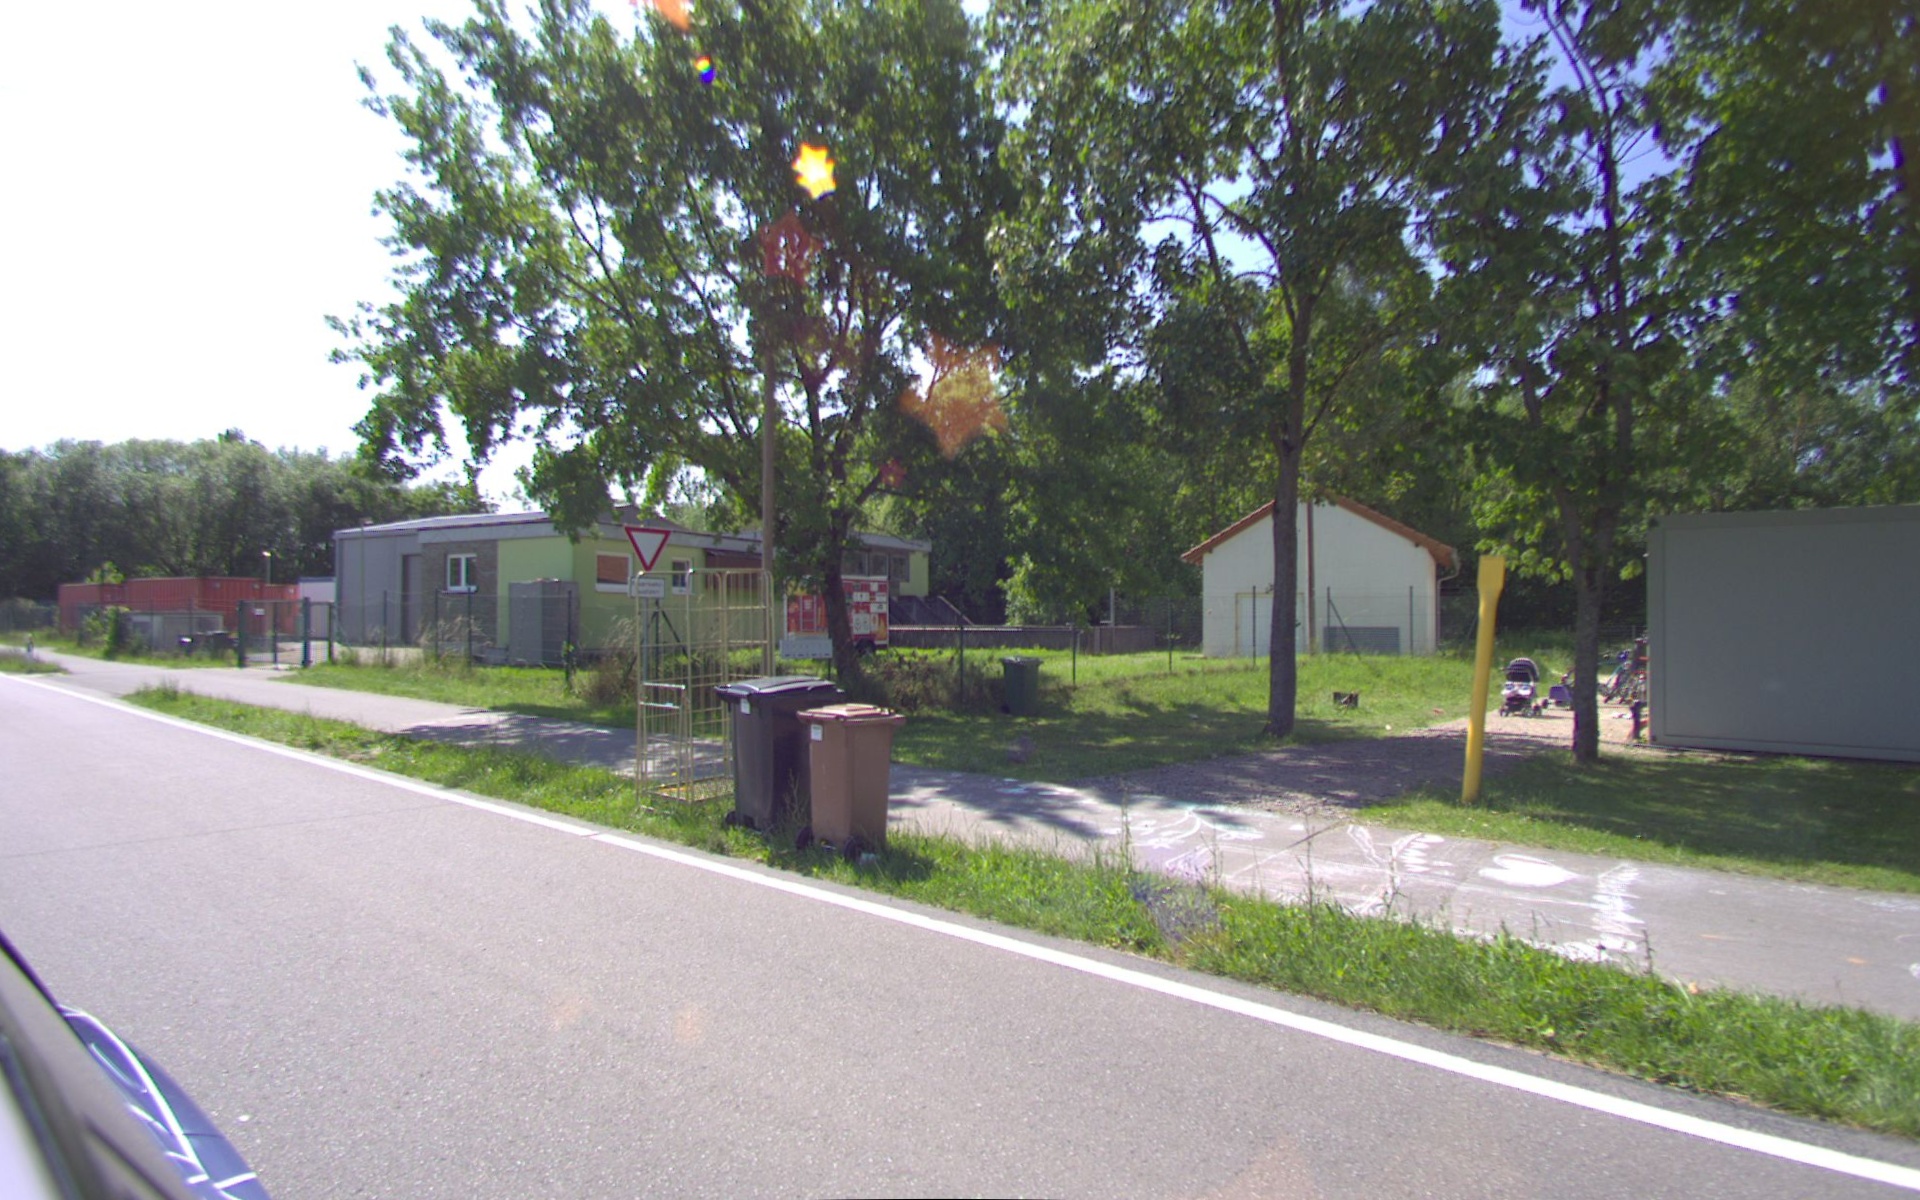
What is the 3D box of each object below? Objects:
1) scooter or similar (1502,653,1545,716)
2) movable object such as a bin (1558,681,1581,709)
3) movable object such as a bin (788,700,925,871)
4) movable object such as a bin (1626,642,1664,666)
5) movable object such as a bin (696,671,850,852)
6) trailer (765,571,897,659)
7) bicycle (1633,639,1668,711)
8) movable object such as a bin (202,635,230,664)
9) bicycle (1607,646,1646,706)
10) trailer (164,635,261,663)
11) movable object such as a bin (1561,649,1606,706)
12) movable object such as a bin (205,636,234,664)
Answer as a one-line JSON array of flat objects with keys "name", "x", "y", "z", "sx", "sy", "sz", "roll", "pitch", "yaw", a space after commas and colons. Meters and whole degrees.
[{"name": "scooter or similar", "x": 9.583, "y": 1.424, "z": 17.202, "sx": 0.533, "sy": 1.005, "sz": 0.886, "roll": -1, "pitch": -2, "yaw": 35}, {"name": "movable object such as a bin", "x": 11.127, "y": 1.730, "z": 18.476, "sx": 0.296, "sy": 0.465, "sz": 0.662, "roll": -1, "pitch": -2, "yaw": 36}, {"name": "movable object such as a bin", "x": -0.616, "y": 1.067, "z": 6.006, "sx": 0.555, "sy": 0.883, "sz": 0.614, "roll": 2, "pitch": -2, "yaw": -42}, {"name": "movable object such as a bin", "x": 27.112, "y": 2.123, "z": 40.047, "sx": 1.165, "sy": 0.893, "sz": 1.537, "roll": -1, "pitch": -2, "yaw": 38}, {"name": "movable object such as a bin", "x": -1.211, "y": 1.000, "z": 6.556, "sx": 0.690, "sy": 1.032, "sz": 0.749, "roll": 2, "pitch": -2, "yaw": -42}, {"name": "trailer", "x": -3.536, "y": 0.464, "z": 28.570, "sx": 1.817, "sy": 2.295, "sz": 4.203, "roll": -1, "pitch": -2, "yaw": 24}, {"name": "bicycle", "x": 12.303, "y": 1.311, "z": 18.016, "sx": 0.423, "sy": 1.222, "sz": 1.228, "roll": -1, "pitch": -2, "yaw": 38}, {"name": "movable object such as a bin", "x": -23.247, "y": 1.533, "z": 31.623, "sx": 0.631, "sy": 0.882, "sz": 0.654, "roll": 2, "pitch": -3, "yaw": -44}, {"name": "bicycle", "x": 12.761, "y": 1.432, "z": 19.365, "sx": 0.505, "sy": 1.090, "sz": 1.228, "roll": -1, "pitch": -2, "yaw": 39}, {"name": "trailer", "x": -25.006, "y": 1.615, "z": 33.852, "sx": 3.349, "sy": 0.873, "sz": 1.617, "roll": -1, "pitch": -2, "yaw": 35}, {"name": "movable object such as a bin", "x": 11.842, "y": 1.460, "z": 19.216, "sx": 0.663, "sy": 1.021, "sz": 0.688, "roll": -1, "pitch": -2, "yaw": 37}, {"name": "movable object such as a bin", "x": -22.751, "y": 1.532, "z": 31.094, "sx": 0.631, "sy": 0.861, "sz": 0.654, "roll": 2, "pitch": -3, "yaw": -44}]
